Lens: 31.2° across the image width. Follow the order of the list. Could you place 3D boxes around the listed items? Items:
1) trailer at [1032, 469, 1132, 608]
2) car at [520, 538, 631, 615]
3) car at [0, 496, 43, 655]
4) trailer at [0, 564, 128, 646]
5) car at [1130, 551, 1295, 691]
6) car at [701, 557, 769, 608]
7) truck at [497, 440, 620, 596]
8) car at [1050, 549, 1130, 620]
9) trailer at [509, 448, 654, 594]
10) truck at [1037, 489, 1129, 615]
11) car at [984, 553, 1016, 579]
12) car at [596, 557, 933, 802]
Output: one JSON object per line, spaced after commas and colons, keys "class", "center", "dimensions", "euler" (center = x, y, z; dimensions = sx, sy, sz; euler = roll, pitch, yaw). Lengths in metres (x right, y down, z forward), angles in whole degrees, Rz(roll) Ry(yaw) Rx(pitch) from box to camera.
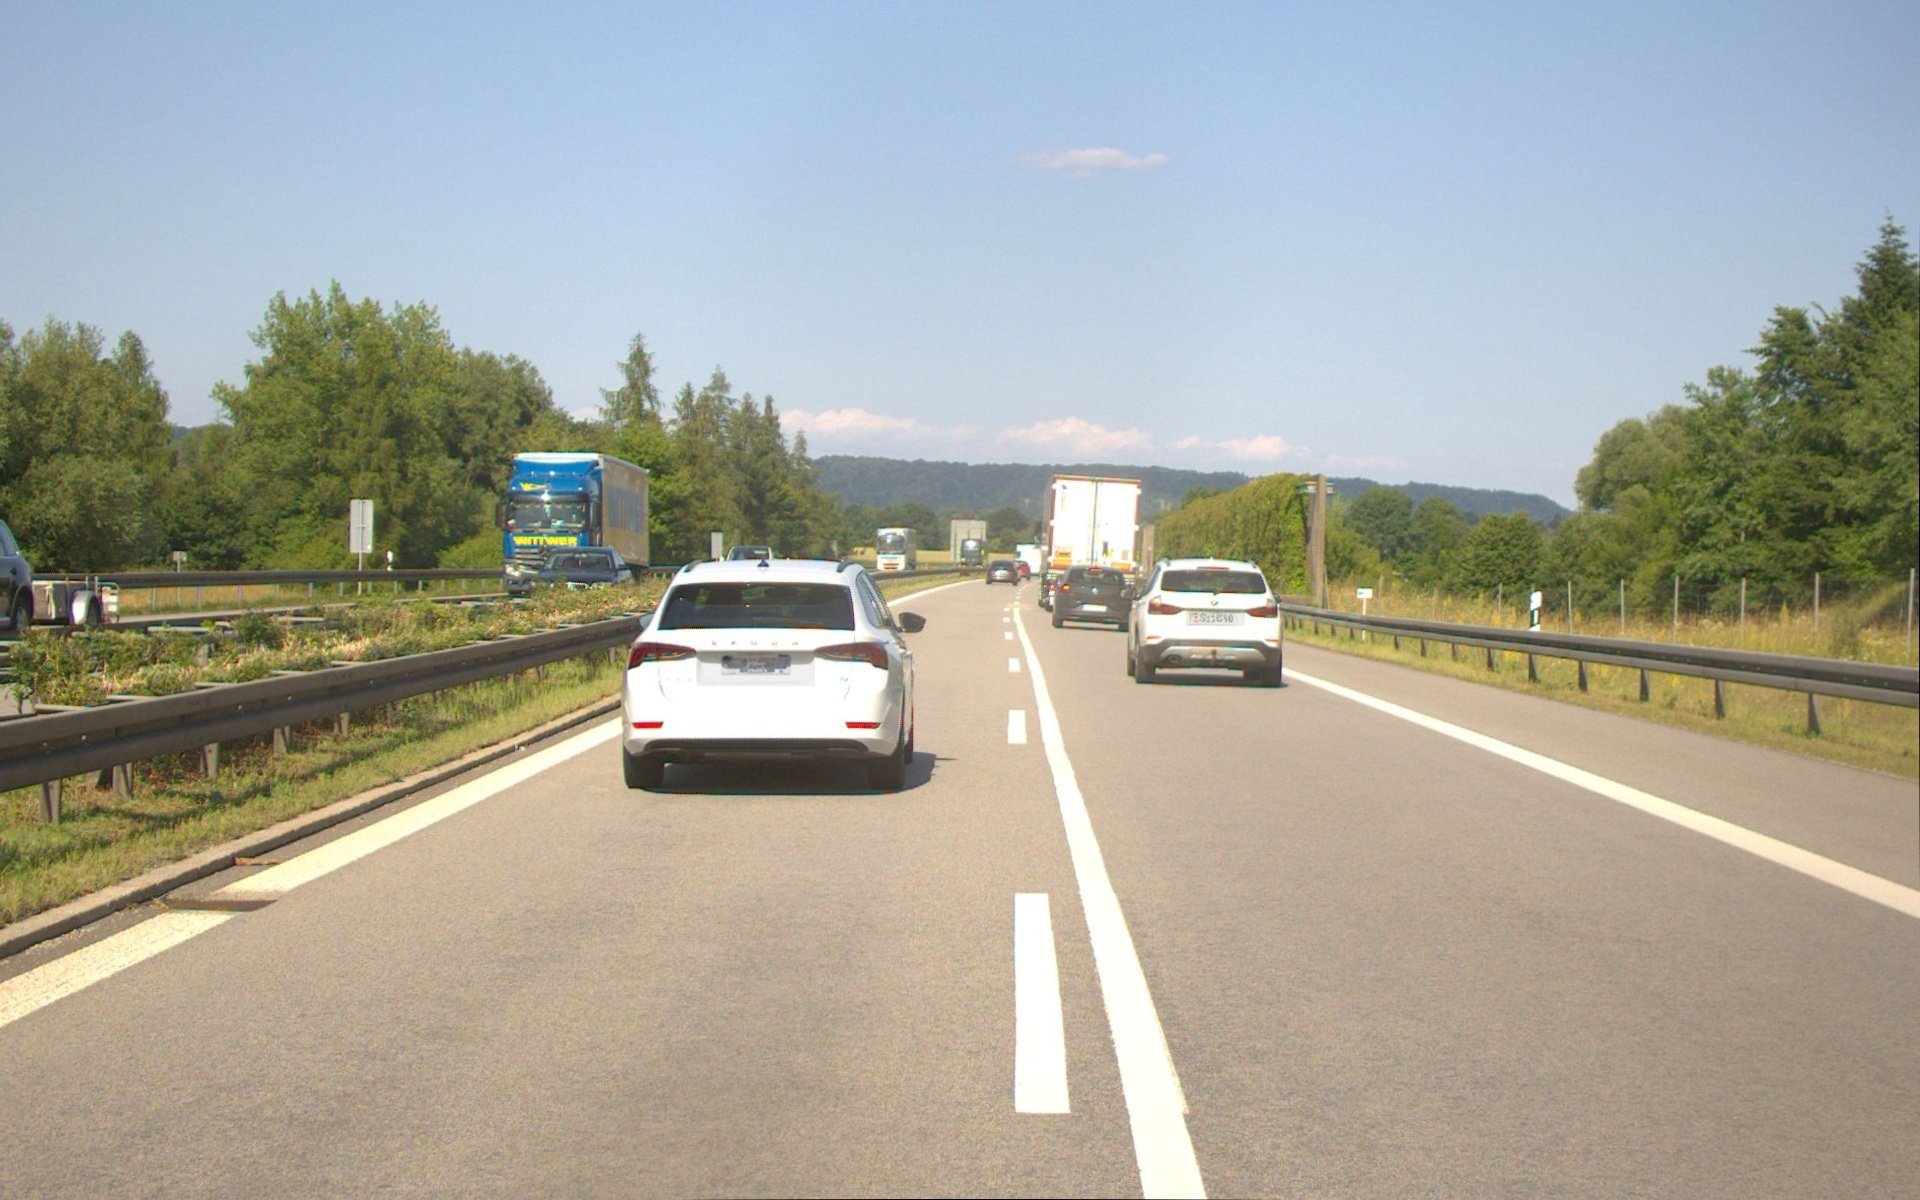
{"class": "trailer", "center": [3.742, -1.873, 106.348], "dimensions": [2.818, 3.953, 14.160], "euler": [1, 1, 2]}
{"class": "car", "center": [-7.674, -0.489, 69.042], "dimensions": [1.680, 1.454, 4.926], "euler": [-1, 1, 0]}
{"class": "car", "center": [-11.774, -0.279, 38.296], "dimensions": [1.849, 1.797, 4.871], "euler": [0, 0, 0]}
{"class": "trailer", "center": [-11.741, 0.036, 42.779], "dimensions": [1.742, 0.933, 4.020], "euler": [1, 1, 1]}
{"class": "car", "center": [3.118, 0.217, 43.271], "dimensions": [1.685, 1.490, 4.987], "euler": [4, 2, 1]}
{"class": "car", "center": [-7.606, -0.615, 116.479], "dimensions": [1.993, 1.659, 4.634], "euler": [0, 1, 0]}
{"class": "truck", "center": [-11.498, -2.333, 98.930], "dimensions": [2.740, 4.288, 6.335], "euler": [1, 1, 0]}
{"class": "car", "center": [2.897, -0.360, 77.356], "dimensions": [1.665, 1.449, 4.544], "euler": [3, 1, 1]}
{"class": "trailer", "center": [-11.485, -2.362, 105.689], "dimensions": [2.787, 4.146, 14.394], "euler": [1, 1, 0]}
{"class": "truck", "center": [4.001, -1.567, 113.115], "dimensions": [2.840, 3.953, 7.044], "euler": [1, 1, 1]}
{"class": "car", "center": [2.367, -1.986, 202.287], "dimensions": [1.771, 1.416, 4.495], "euler": [3, 1, 1]}
{"class": "car", "center": [-1.187, 0.441, 23.149], "dimensions": [1.840, 1.416, 5.254], "euler": [1, 1, 1]}
